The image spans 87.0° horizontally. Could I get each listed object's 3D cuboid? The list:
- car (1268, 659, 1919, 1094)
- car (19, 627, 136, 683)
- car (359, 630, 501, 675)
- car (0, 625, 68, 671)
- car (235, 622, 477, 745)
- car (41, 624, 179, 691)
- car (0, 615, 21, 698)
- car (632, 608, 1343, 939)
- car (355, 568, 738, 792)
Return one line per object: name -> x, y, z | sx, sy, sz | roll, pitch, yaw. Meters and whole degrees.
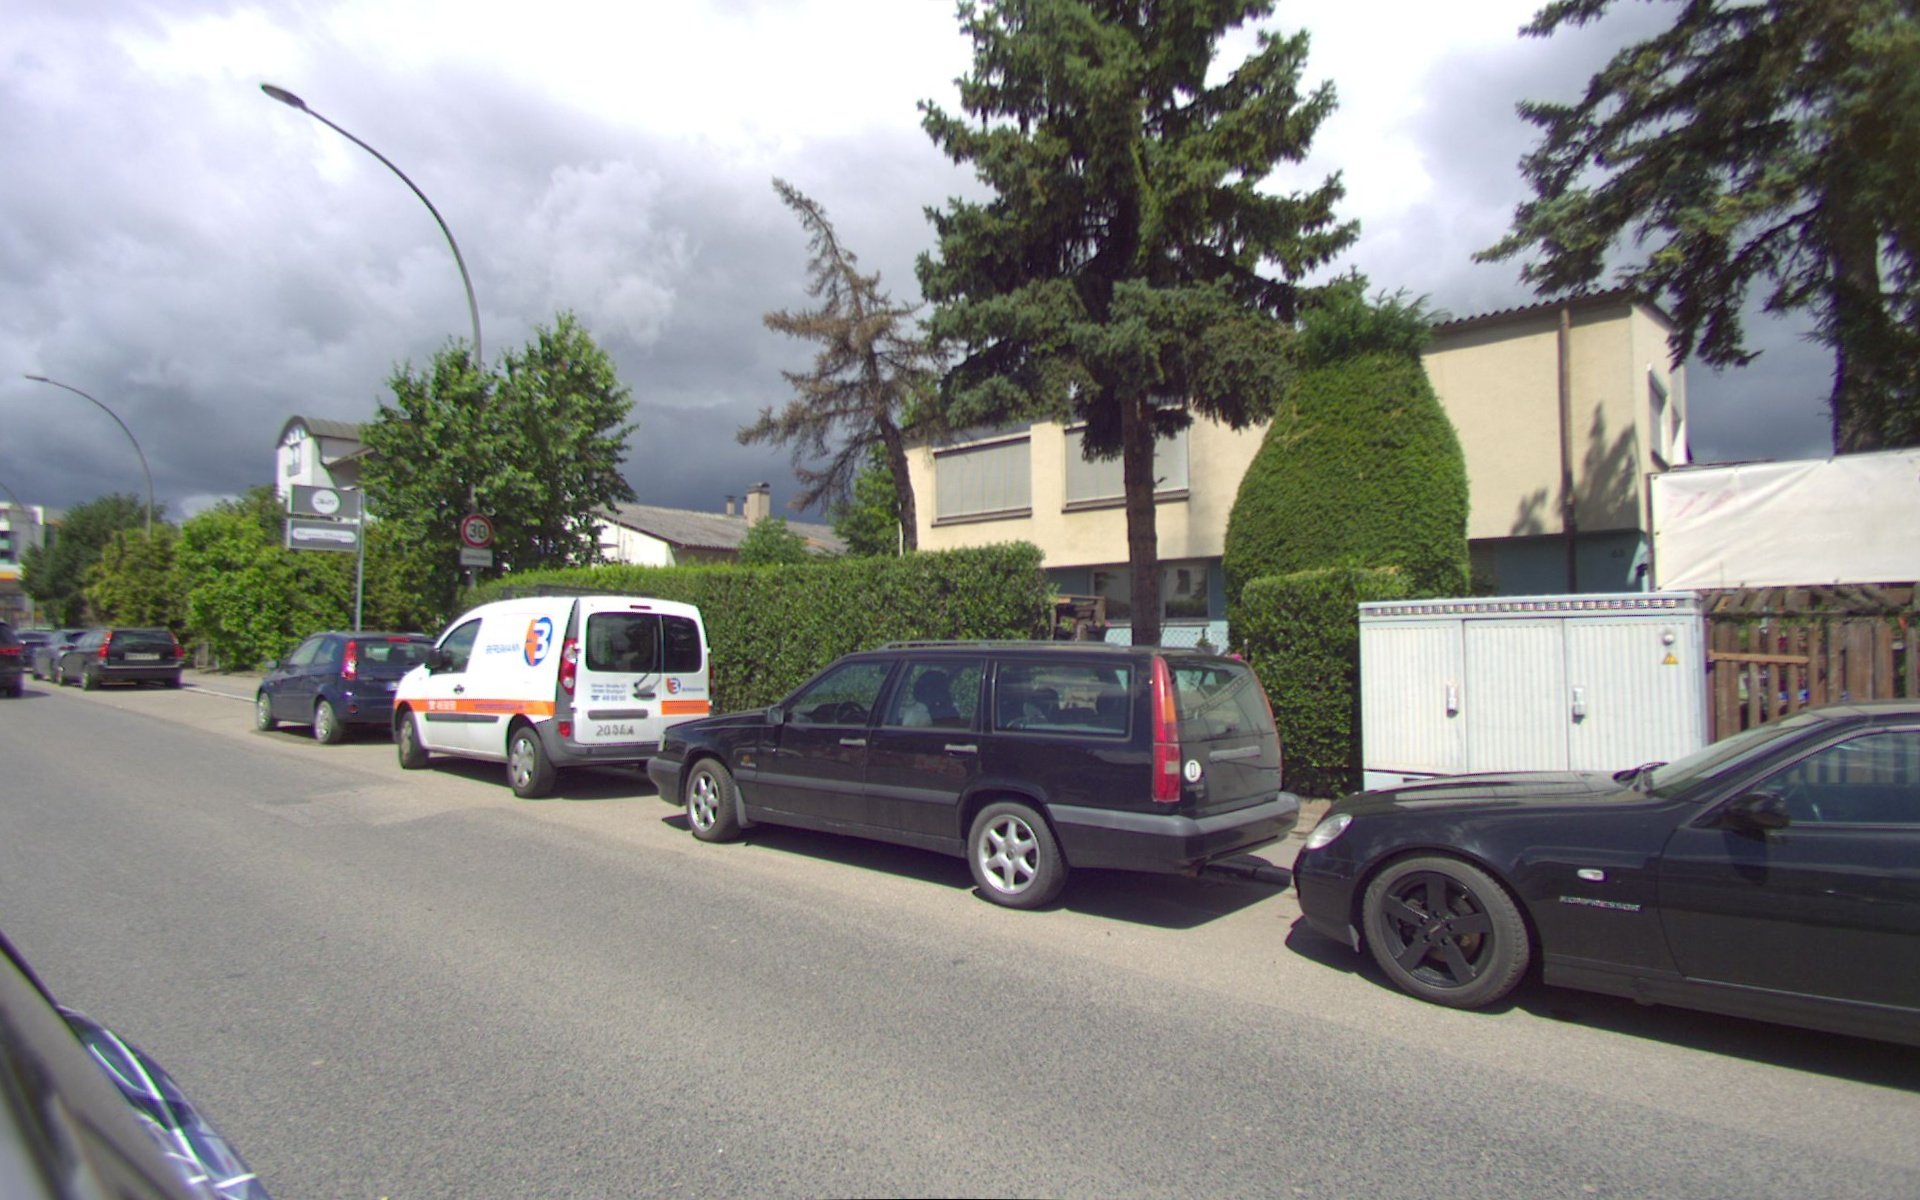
car -> 3.461, 0.934, 3.816 | 4.112, 1.314, 1.614 | -2, -6, 39
car -> -24.478, 1.515, 28.034 | 4.195, 1.443, 1.702 | -2, -4, 39
car -> -18.484, 1.851, 35.470 | 3.936, 1.398, 1.896 | 2, -4, -9
car -> -31.410, 1.613, 33.908 | 4.335, 1.425, 1.645 | -2, -4, 41
car -> -8.594, 1.133, 14.281 | 3.996, 1.498, 1.623 | -2, -6, 40
car -> -20.876, 1.379, 24.794 | 4.730, 1.504, 1.702 | -2, -4, 39
car -> -21.091, 1.169, 21.091 | 4.352, 1.640, 1.725 | -2, -2, 41
car -> -0.085, 0.906, 6.731 | 4.639, 1.483, 1.726 | -2, -6, 40
car -> -4.385, 0.782, 10.431 | 4.351, 1.852, 1.726 | -2, -6, 40
